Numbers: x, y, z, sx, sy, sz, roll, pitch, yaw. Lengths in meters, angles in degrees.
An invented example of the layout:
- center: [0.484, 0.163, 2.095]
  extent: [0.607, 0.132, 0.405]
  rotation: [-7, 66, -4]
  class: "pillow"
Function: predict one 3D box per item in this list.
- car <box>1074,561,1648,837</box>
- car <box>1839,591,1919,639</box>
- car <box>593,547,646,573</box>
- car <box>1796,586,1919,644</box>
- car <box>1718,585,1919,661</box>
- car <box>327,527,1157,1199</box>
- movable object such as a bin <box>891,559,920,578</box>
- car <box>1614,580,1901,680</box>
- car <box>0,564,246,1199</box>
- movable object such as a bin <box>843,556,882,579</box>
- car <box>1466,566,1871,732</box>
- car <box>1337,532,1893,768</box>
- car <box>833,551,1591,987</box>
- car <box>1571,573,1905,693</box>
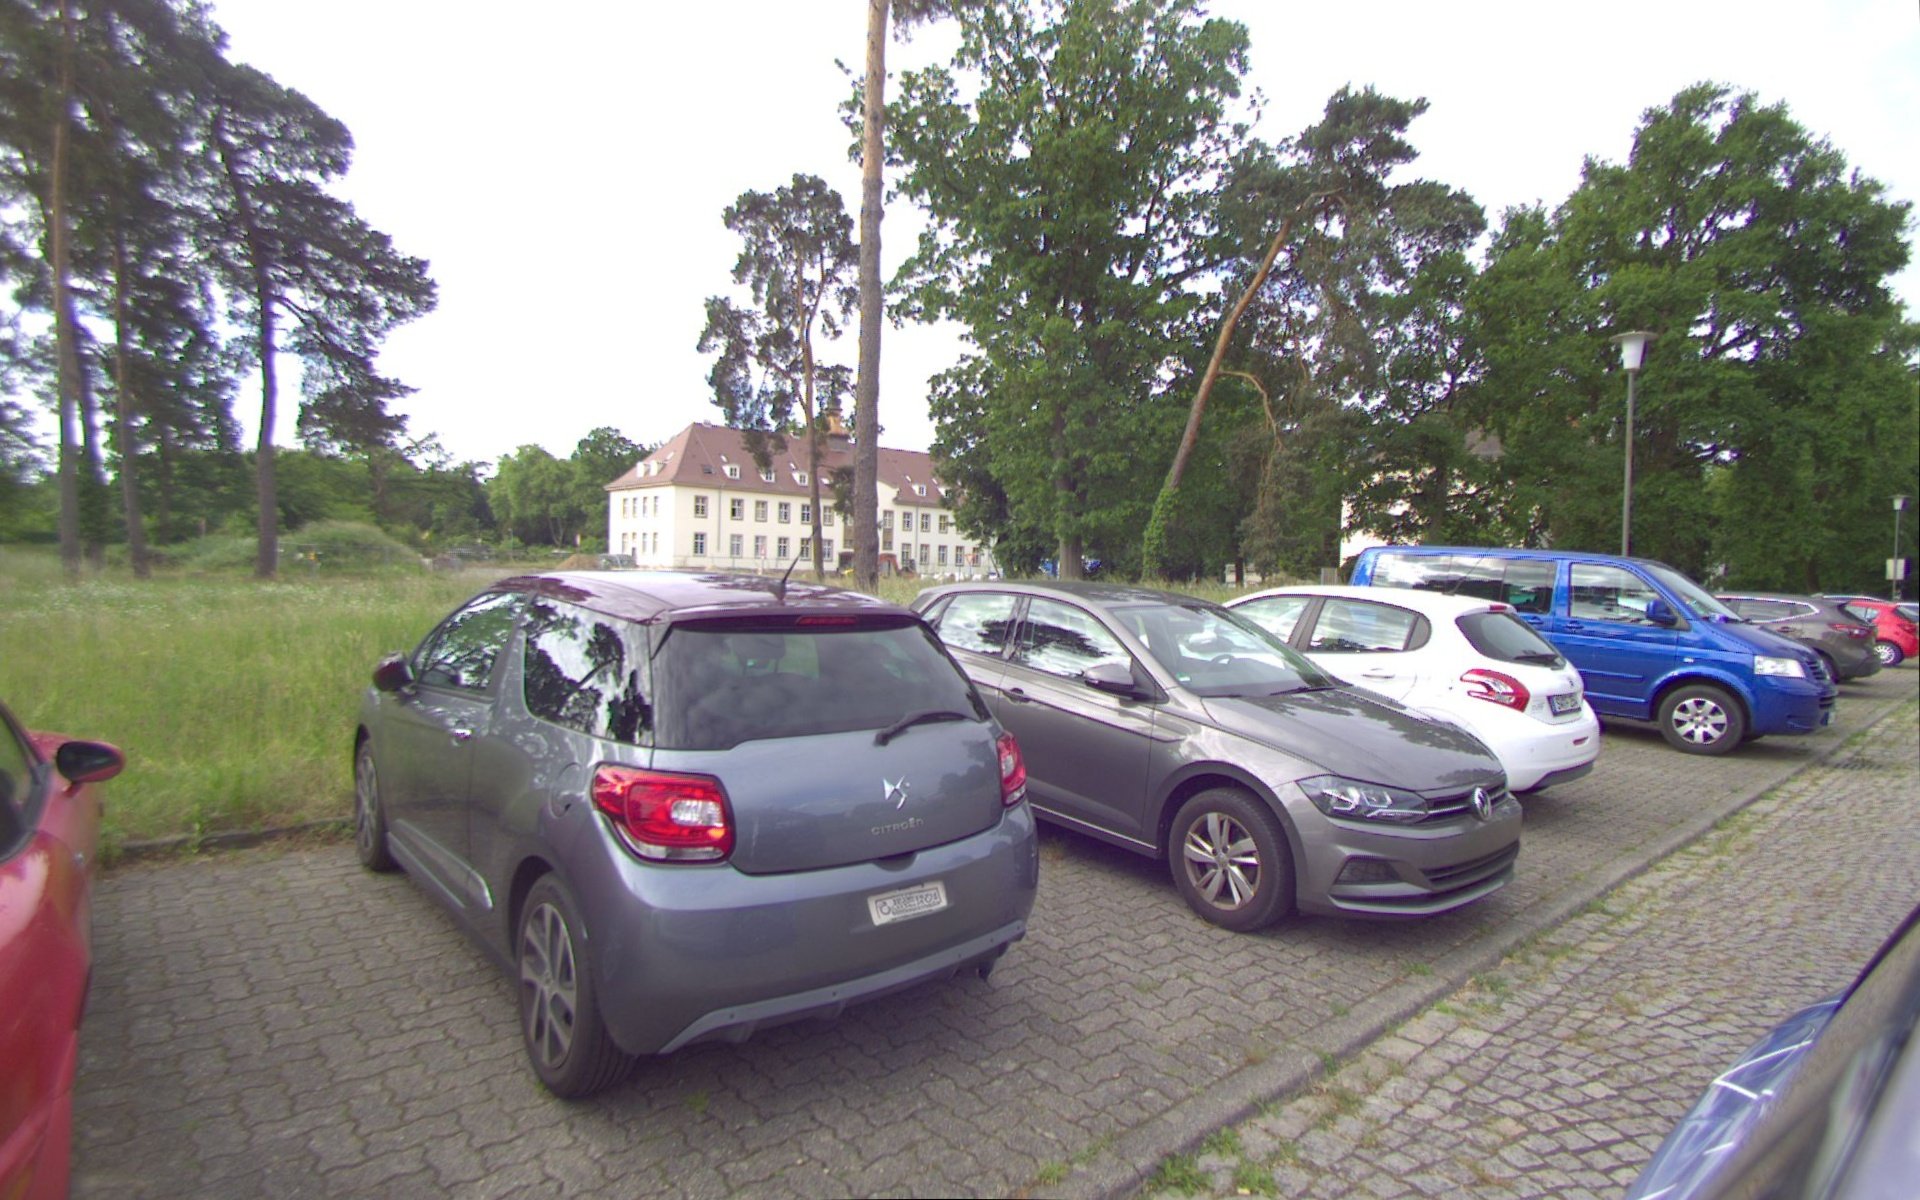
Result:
- center: [2.941, 0.538, 8.101]
  extent: [1.727, 1.490, 3.872]
  rotation: [0, 4, -40]
  class: "car"
- center: [31.929, 0.555, 33.653]
  extent: [1.555, 1.443, 3.875]
  rotation: [0, 4, -42]
  class: "car"
- center: [-32.813, -3.876, 97.383]
  extent: [5.848, 2.268, 2.283]
  rotation: [5, 4, 42]
  class: "car"
- center: [28.305, 0.466, 30.843]
  extent: [1.555, 1.556, 4.147]
  rotation: [0, 4, -42]
  class: "car"
- center: [20.738, 0.496, 24.207]
  extent: [1.555, 1.477, 3.891]
  rotation: [0, 4, -42]
  class: "car"
- center: [-1.288, 0.516, 4.317]
  extent: [1.728, 1.490, 3.869]
  rotation: [0, 4, -42]
  class: "car"
- center: [-6.225, -3.542, 114.816]
  extent: [2.933, 2.038, 1.553]
  rotation: [0, 2, -41]
  class: "movable object such as a bin"
- center: [15.120, 0.482, 19.362]
  extent: [1.735, 1.503, 4.015]
  rotation: [0, 4, -41]
  class: "car"
- center: [-3.009, 0.623, 2.360]
  extent: [1.728, 1.251, 3.869]
  rotation: [0, 4, -42]
  class: "car"
- center: [-9.195, -3.086, 95.265]
  extent: [3.181, 2.038, 1.682]
  rotation: [0, 2, -34]
  class: "movable object such as a bin"
- center: [8.928, 0.483, 13.006]
  extent: [1.810, 1.489, 3.871]
  rotation: [0, 6, -42]
  class: "car"
- center: [7.032, 0.325, 11.351]
  extent: [1.969, 1.969, 4.817]
  rotation: [0, 4, -42]
  class: "car"
- center: [1.101, 0.561, 5.789]
  extent: [1.727, 1.490, 3.871]
  rotation: [0, 4, -41]
  class: "car"
- center: [13.244, 0.452, 17.435]
  extent: [1.791, 1.618, 4.268]
  rotation: [0, 4, -42]
  class: "car"
